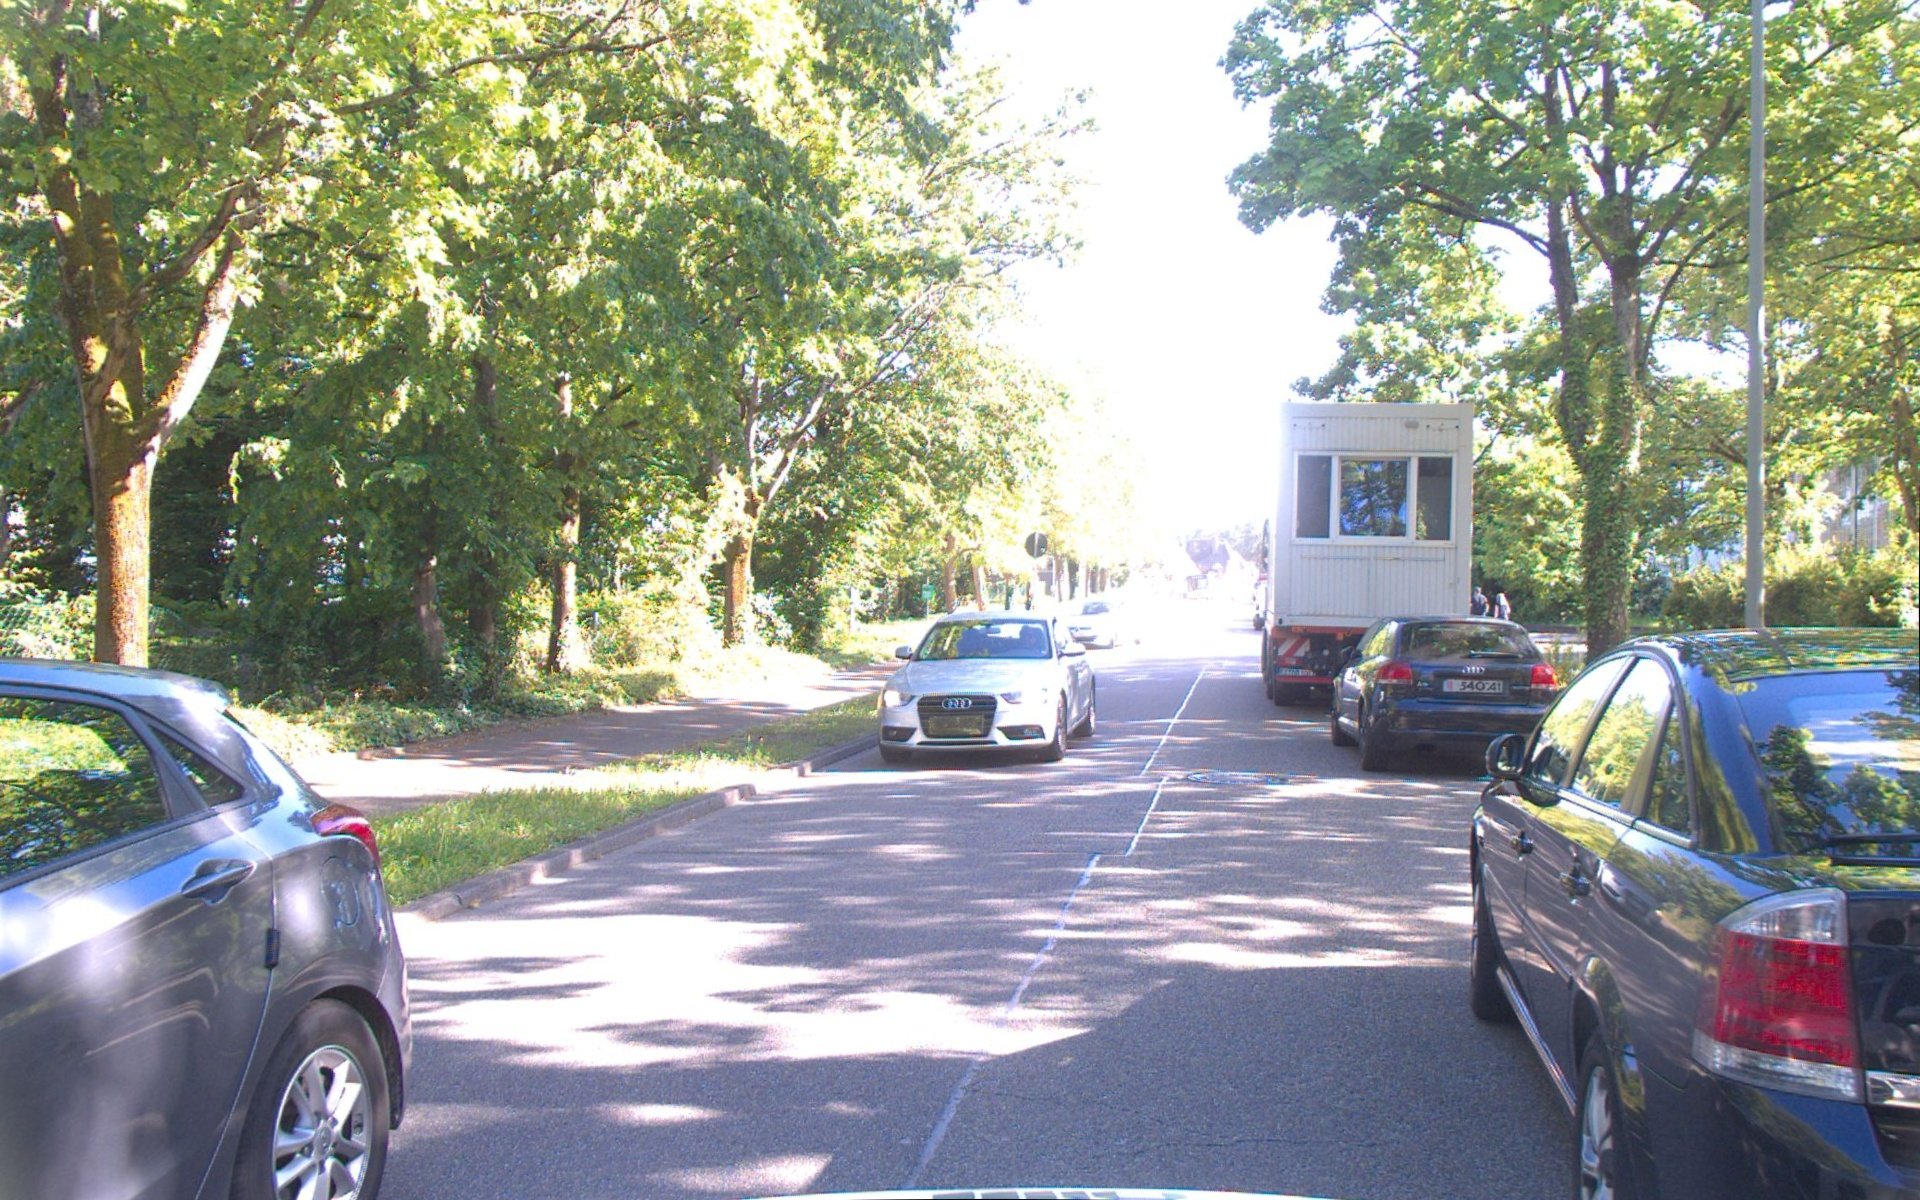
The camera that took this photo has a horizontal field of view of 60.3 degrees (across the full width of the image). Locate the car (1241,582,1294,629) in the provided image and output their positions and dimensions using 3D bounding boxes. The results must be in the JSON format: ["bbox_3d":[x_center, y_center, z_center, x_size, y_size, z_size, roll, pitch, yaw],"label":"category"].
[{"bbox_3d":[12.624,0.198,68.110,1.905,1.875,4.003,0,0,7],"label":"car"}]

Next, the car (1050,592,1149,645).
[{"bbox_3d":[4.276,0.536,50.125,1.769,1.445,3.958,-2,0,24],"label":"car"}]

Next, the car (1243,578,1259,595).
[{"bbox_3d":[33.115,-1.543,188.153,1.743,1.840,4.003,-1,0,9],"label":"car"}]

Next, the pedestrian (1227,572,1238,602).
[{"bbox_3d":[19.976,-0.971,121.249,0.736,2.150,0.799,2,0,13],"label":"pedestrian"}]

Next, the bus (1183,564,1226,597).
[{"bbox_3d":[26.651,-2.155,180.097,3.978,3.407,9.809,-1,0,12],"label":"bus"}]

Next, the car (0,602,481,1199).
[{"bbox_3d":[-2.430,0.791,2.331,1.718,1.479,4.246,-1,0,9],"label":"car"}]

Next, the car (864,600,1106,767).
[{"bbox_3d":[0.393,0.765,17.065,1.748,1.441,4.108,-1,0,11],"label":"car"}]

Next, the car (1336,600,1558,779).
[{"bbox_3d":[4.584,0.754,16.051,1.605,1.445,4.004,1,1,10],"label":"car"}]

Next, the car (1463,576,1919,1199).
[{"bbox_3d":[2.404,0.735,4.316,1.711,1.506,4.034,1,0,12],"label":"car"}]

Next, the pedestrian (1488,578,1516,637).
[{"bbox_3d":[17.097,0.234,52.172,0.683,1.844,0.701,-1,0,7],"label":"pedestrian"}]

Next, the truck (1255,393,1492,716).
[{"bbox_3d":[6.169,-0.648,26.205,2.714,4.065,10.357,1,1,9],"label":"truck"}]

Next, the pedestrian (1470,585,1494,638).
[{"bbox_3d":[16.471,0.360,52.233,0.585,1.639,0.600,-1,0,7],"label":"pedestrian"}]
